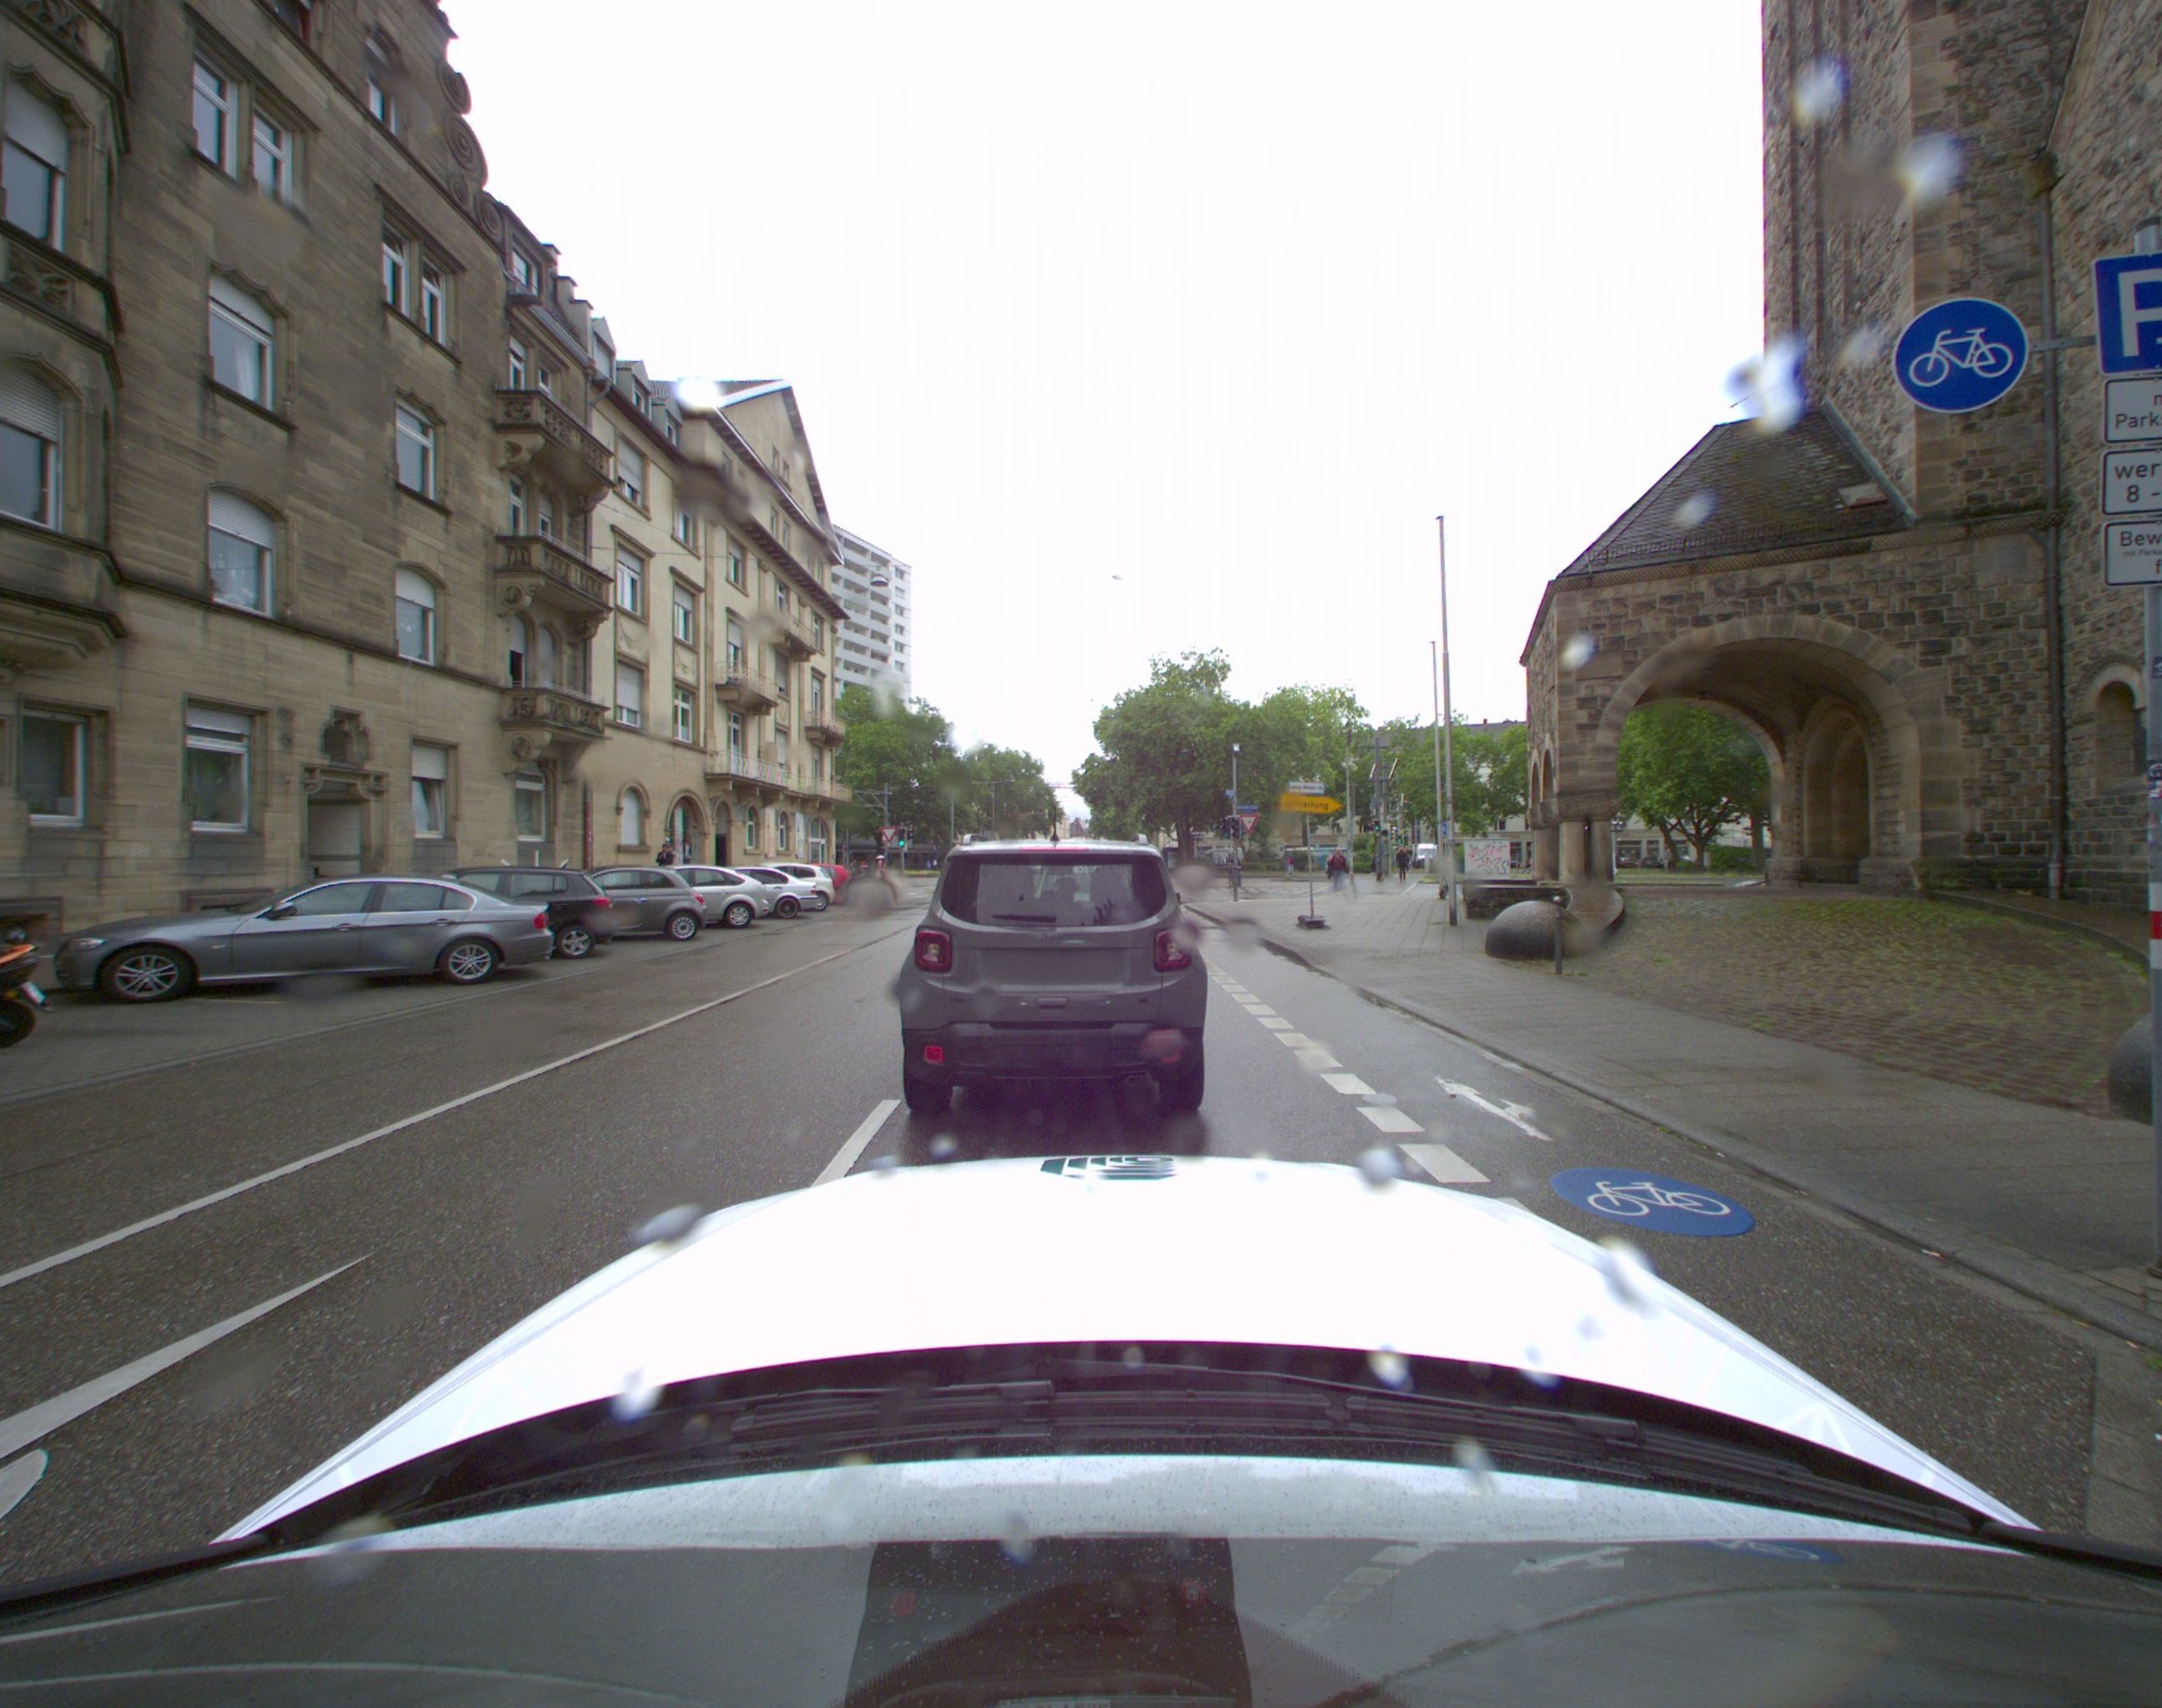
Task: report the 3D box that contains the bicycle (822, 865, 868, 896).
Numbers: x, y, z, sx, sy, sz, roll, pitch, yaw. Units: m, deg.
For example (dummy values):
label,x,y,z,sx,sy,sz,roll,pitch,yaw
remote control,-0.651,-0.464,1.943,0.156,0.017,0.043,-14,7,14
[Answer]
label,x,y,z,sx,sy,sz,roll,pitch,yaw
bicycle,-9.983,1.123,34.484,1.758,1.266,0.608,-1,-1,-1

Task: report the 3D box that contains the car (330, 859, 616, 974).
label,x,y,z,sx,sy,sz,roll,pitch,yaw
car,-9.790,0.904,13.353,3.570,1.598,1.587,0,-1,-38

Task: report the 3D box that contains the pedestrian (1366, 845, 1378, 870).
label,x,y,z,sx,sy,sz,roll,pitch,yaw
pedestrian,23.510,0.303,65.766,0.798,2.014,0.593,-1,-1,28

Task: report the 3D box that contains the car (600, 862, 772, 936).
label,x,y,z,sx,sy,sz,roll,pitch,yaw
car,-9.401,0.994,19.464,3.419,1.558,1.686,0,-1,-38

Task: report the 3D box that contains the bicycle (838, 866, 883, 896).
label,x,y,z,sx,sy,sz,roll,pitch,yaw
bicycle,-9.584,1.165,35.356,1.758,1.266,0.608,-1,-1,-1

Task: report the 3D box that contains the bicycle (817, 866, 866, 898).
label,x,y,z,sx,sy,sz,roll,pitch,yaw
bicycle,-9.612,1.116,32.764,1.804,1.266,0.498,-1,-1,-1

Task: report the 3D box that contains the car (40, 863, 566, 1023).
label,x,y,z,sx,sy,sz,roll,pitch,yaw
car,-9.420,0.931,10.423,4.573,1.545,1.668,-1,-1,-42

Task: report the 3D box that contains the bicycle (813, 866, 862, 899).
label,x,y,z,sx,sy,sz,roll,pitch,yaw
bicycle,-9.609,1.122,32.217,1.758,1.266,0.522,-1,-1,-1

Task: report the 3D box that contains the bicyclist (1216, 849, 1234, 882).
label,x,y,z,sx,sy,sz,roll,pitch,yaw
bicyclist,7.359,0.585,41.547,0.681,1.617,0.888,-2,-1,21

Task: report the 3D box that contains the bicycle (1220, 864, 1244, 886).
label,x,y,z,sx,sy,sz,roll,pitch,yaw
bicycle,7.746,1.046,41.623,0.686,1.021,2.672,-2,0,21

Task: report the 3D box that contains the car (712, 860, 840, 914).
label,x,y,z,sx,sy,sz,roll,pitch,yaw
car,-9.523,0.977,25.512,3.419,1.558,1.686,0,-1,-38

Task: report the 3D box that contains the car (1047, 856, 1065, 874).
label,x,y,z,sx,sy,sz,roll,pitch,yaw
car,-2.559,1.081,82.965,1.717,1.739,3.726,-1,0,-2

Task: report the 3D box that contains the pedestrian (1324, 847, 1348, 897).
label,x,y,z,sx,sy,sz,roll,pitch,yaw
pedestrian,9.243,0.654,29.539,0.780,1.759,0.949,-2,-1,16

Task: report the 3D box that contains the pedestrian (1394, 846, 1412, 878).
label,x,y,z,sx,sy,sz,roll,pitch,yaw
pedestrian,16.646,0.413,42.137,0.775,1.645,0.659,-2,-1,25

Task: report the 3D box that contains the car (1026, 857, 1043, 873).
label,x,y,z,sx,sy,sz,roll,pitch,yaw
car,-5.024,1.140,88.138,1.810,1.670,3.916,-1,0,-3

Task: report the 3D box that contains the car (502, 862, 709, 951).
label,x,y,z,sx,sy,sz,roll,pitch,yaw
car,-9.549,0.965,16.437,3.419,1.558,1.634,0,-1,-38

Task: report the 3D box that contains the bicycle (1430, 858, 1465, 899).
label,x,y,z,sx,sy,sz,roll,pitch,yaw
bicycle,11.027,0.713,24.535,0.327,1.154,2.079,-1,0,7

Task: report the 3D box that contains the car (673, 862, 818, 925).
label,x,y,z,sx,sy,sz,roll,pitch,yaw
car,-9.297,1.031,22.647,3.419,1.558,1.686,0,-1,-38

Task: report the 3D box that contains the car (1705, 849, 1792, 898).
label,x,y,z,sx,sy,sz,roll,pitch,yaw
car,21.479,0.582,26.310,1.389,1.479,3.239,-1,0,25

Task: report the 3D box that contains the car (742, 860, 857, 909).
label,x,y,z,sx,sy,sz,roll,pitch,yaw
car,-9.781,1.019,28.387,3.419,1.558,1.686,0,-1,-38

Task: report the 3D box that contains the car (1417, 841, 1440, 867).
label,x,y,z,sx,sy,sz,roll,pitch,yaw
car,35.481,-0.043,83.096,1.889,2.555,4.815,-1,0,25

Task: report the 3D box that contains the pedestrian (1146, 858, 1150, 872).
label,x,y,z,sx,sy,sz,roll,pitch,yaw
pedestrian,8.398,1.351,102.292,0.456,1.704,0.424,-1,-1,2

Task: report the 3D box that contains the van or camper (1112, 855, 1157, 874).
label,x,y,z,sx,sy,sz,roll,pitch,yaw
van or camper,8.169,1.598,124.644,6.466,2.912,2.509,-1,-1,26

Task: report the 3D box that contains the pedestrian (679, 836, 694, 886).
label,x,y,z,sx,sy,sz,roll,pitch,yaw
pedestrian,-14.426,0.258,29.771,0.365,1.823,0.347,-1,-1,-1

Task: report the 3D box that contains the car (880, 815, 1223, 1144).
label,x,y,z,sx,sy,sz,roll,pitch,yaw
car,-0.131,0.670,6.235,1.769,1.687,3.848,-2,0,1

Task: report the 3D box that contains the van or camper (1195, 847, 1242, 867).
label,x,y,z,sx,sy,sz,roll,pitch,yaw
van or camper,15.949,0.350,94.488,5.234,2.315,2.093,0,0,5

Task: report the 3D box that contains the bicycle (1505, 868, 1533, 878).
label,x,y,z,sx,sy,sz,roll,pitch,yaw
bicycle,31.071,1.347,57.754,1.683,0.719,0.656,-1,-1,22

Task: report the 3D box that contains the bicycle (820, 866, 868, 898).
label,x,y,z,sx,sy,sz,roll,pitch,yaw
bicycle,-9.722,1.130,33.450,1.804,1.266,0.498,-1,-1,-1

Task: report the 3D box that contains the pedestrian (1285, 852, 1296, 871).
label,x,y,z,sx,sy,sz,roll,pitch,yaw
pedestrian,17.696,0.635,68.762,0.667,1.554,0.766,-1,-2,29

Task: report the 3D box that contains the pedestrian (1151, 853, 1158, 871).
label,x,y,z,sx,sy,sz,roll,pitch,yaw
pedestrian,8.369,0.901,92.484,0.646,2.014,0.484,-1,-1,14

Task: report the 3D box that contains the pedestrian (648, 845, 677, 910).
label,x,y,z,sx,sy,sz,roll,pitch,yaw
pedestrian,-13.329,0.740,25.967,0.565,2.014,0.655,-1,-1,1

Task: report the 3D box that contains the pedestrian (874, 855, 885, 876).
label,x,y,z,sx,sy,sz,roll,pitch,yaw
pedestrian,-17.582,0.978,71.048,0.614,1.826,0.697,-1,-1,15

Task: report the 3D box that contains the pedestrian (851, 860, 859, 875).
label,x,y,z,sx,sy,sz,roll,pitch,yaw
pedestrian,-22.654,1.345,81.677,0.438,1.530,0.647,-1,-1,27

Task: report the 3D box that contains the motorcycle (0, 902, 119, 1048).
label,x,y,z,sx,sy,sz,roll,pitch,yaw
motorcycle,-9.416,0.994,6.648,1.880,1.162,0.627,2,-2,-36

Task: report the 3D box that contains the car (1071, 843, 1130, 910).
label,x,y,z,sx,sy,sz,roll,pitch,yaw
car,0.651,0.695,26.703,1.764,2.014,4.001,-1,0,1
